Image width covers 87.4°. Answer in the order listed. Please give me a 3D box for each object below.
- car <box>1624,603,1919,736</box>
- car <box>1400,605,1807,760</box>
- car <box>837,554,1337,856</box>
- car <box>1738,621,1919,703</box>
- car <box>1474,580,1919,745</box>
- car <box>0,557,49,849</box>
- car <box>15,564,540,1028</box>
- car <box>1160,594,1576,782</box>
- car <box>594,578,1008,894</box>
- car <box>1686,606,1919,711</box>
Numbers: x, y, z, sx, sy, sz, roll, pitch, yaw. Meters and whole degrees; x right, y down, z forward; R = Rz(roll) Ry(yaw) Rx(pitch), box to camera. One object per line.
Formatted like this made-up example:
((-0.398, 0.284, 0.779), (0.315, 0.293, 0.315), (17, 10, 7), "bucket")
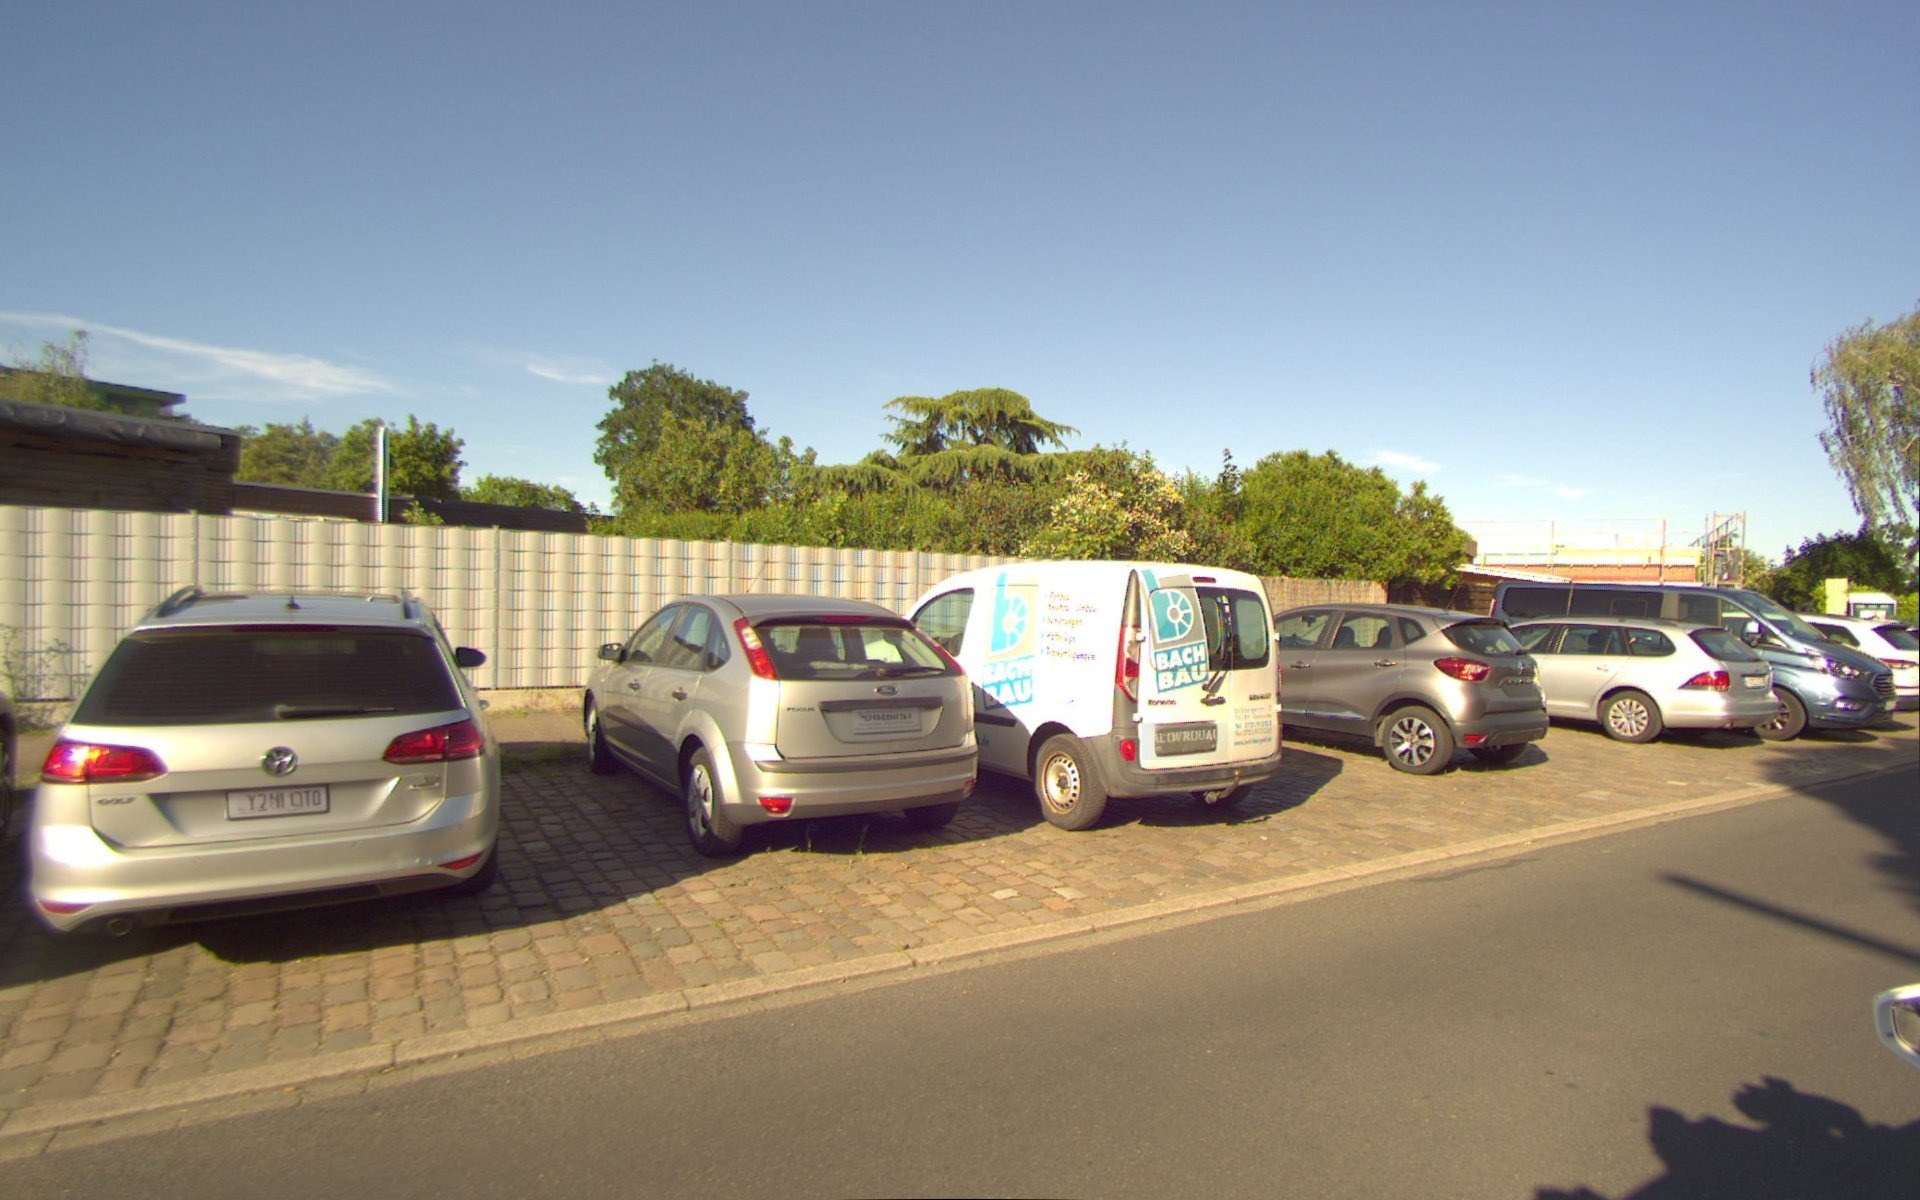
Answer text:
((12.856, 0.989, 15.788), (1.713, 1.628, 3.594), (2, 2, -30), "car")
((8.346, 0.962, 13.421), (1.904, 1.512, 4.115), (2, 2, -31), "car")
((0.742, 0.573, 8.158), (1.905, 1.804, 3.953), (1, 2, -33), "car")
((18.968, 1.280, 21.269), (1.621, 1.478, 3.655), (2, 1, -40), "car")
((10.466, 0.744, 14.701), (1.980, 1.941, 4.840), (2, 0, -34), "car")
((-5.296, 0.578, 4.157), (1.618, 1.509, 3.494), (0, 3, -32), "car")
((-3.257, 0.630, 5.317), (1.616, 1.509, 3.499), (2, 2, -27), "car")
((4.203, 0.791, 10.883), (1.772, 1.553, 3.788), (2, 1, -35), "car")
((-1.347, 0.684, 7.083), (1.708, 1.509, 3.496), (1, 2, -30), "car")
((16.812, 1.071, 19.482), (1.798, 1.634, 3.967), (2, 2, -30), "car")
